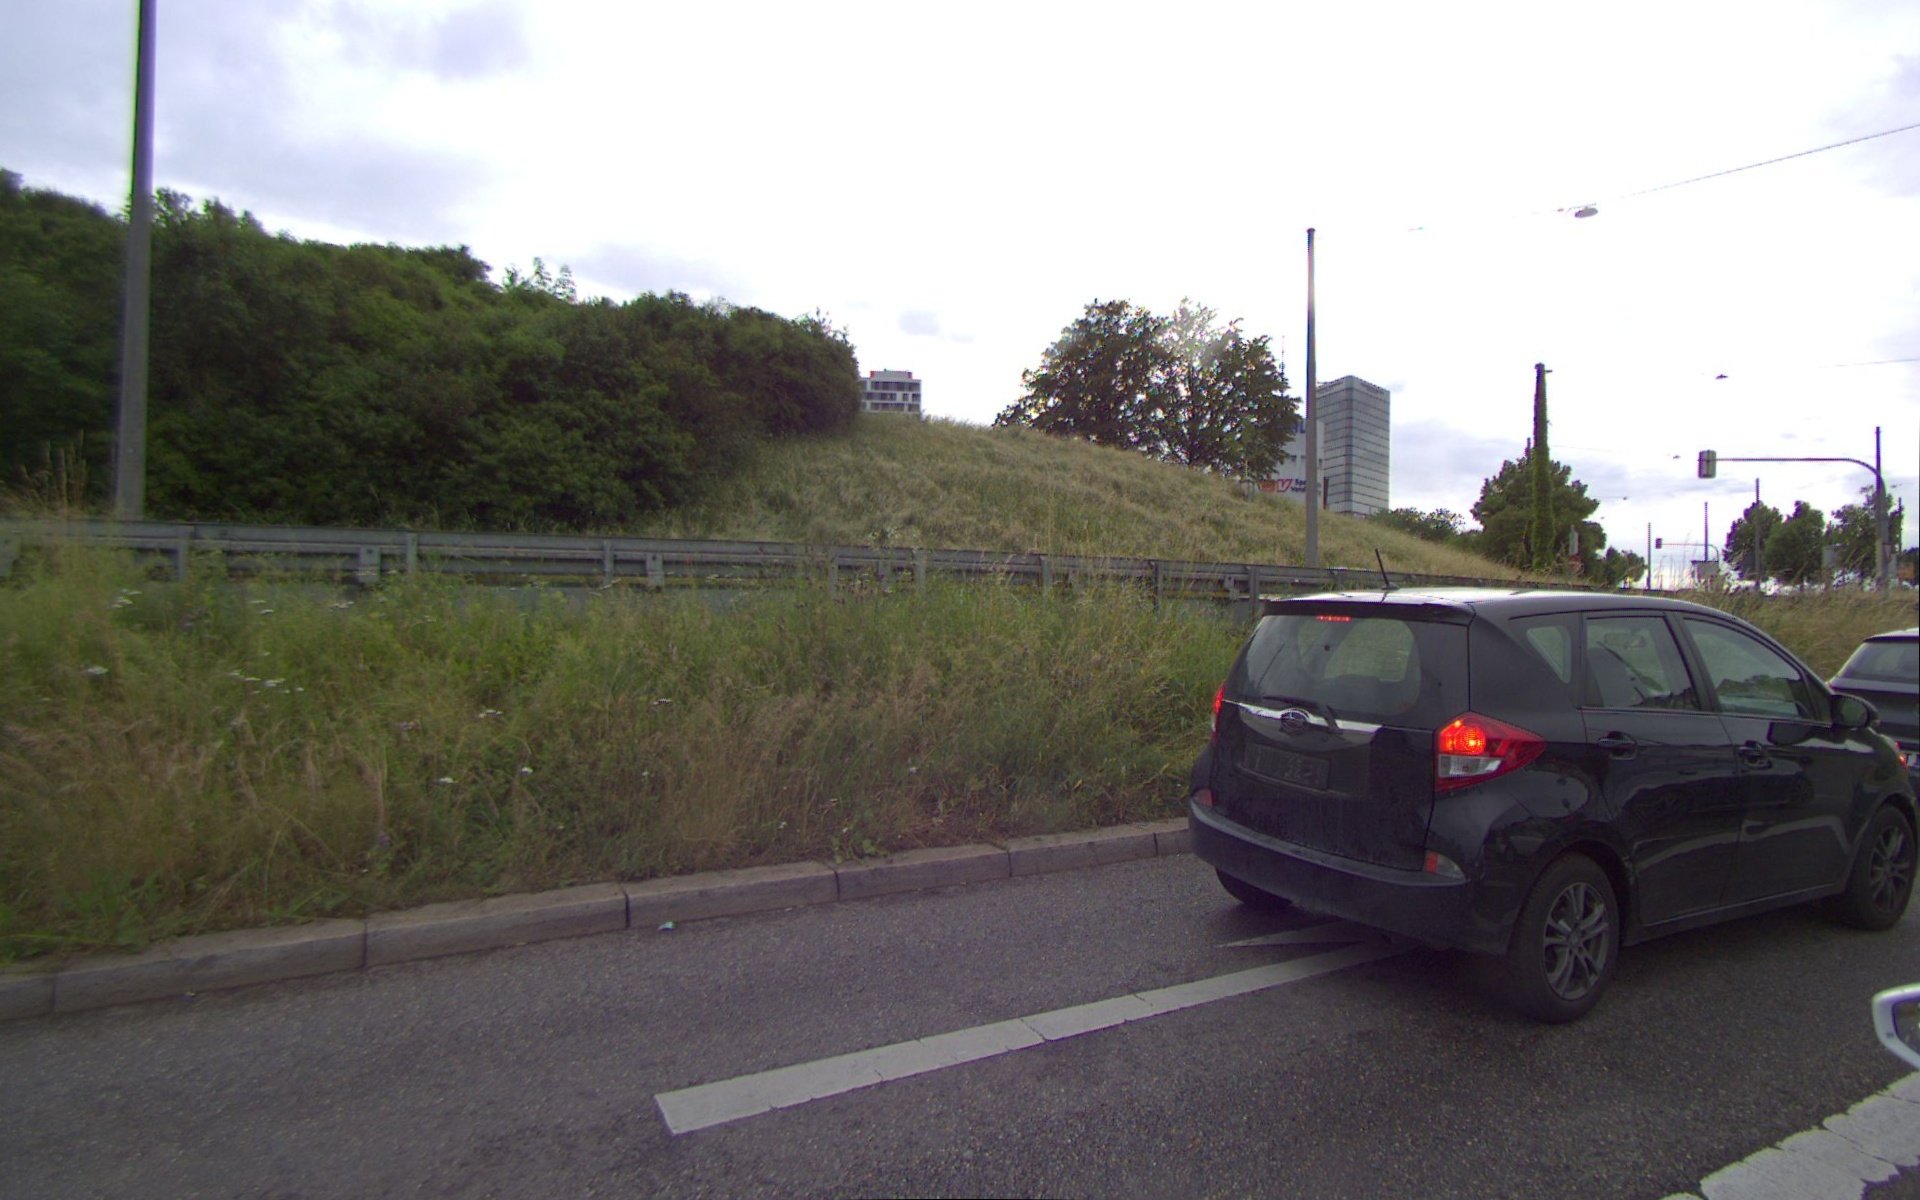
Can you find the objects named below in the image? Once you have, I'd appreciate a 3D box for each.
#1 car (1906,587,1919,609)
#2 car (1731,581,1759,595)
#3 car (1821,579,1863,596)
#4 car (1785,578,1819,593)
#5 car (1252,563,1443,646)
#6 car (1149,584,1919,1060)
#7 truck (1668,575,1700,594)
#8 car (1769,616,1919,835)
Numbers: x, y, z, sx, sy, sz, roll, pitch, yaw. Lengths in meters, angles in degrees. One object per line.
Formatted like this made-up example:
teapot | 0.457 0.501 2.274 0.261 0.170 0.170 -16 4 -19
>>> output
car | 78.089 -0.147 80.464 1.962 1.658 4.418 2 -1 23
car | 110.337 -1.728 141.175 2.096 1.818 4.734 3 2 27
car | 89.996 -1.242 102.538 1.962 1.497 4.499 2 -1 25
car | 98.524 -1.714 117.520 1.962 1.497 4.417 2 -1 25
car | 7.886 0.086 20.399 3.634 1.537 1.727 1 1 -30
car | 2.917 0.731 4.829 3.731 1.524 1.635 1 1 -28
truck | 129.346 -2.792 179.589 3.206 3.116 6.171 4 3 23
car | 8.340 0.886 7.710 4.058 1.479 1.698 1 -1 -25
